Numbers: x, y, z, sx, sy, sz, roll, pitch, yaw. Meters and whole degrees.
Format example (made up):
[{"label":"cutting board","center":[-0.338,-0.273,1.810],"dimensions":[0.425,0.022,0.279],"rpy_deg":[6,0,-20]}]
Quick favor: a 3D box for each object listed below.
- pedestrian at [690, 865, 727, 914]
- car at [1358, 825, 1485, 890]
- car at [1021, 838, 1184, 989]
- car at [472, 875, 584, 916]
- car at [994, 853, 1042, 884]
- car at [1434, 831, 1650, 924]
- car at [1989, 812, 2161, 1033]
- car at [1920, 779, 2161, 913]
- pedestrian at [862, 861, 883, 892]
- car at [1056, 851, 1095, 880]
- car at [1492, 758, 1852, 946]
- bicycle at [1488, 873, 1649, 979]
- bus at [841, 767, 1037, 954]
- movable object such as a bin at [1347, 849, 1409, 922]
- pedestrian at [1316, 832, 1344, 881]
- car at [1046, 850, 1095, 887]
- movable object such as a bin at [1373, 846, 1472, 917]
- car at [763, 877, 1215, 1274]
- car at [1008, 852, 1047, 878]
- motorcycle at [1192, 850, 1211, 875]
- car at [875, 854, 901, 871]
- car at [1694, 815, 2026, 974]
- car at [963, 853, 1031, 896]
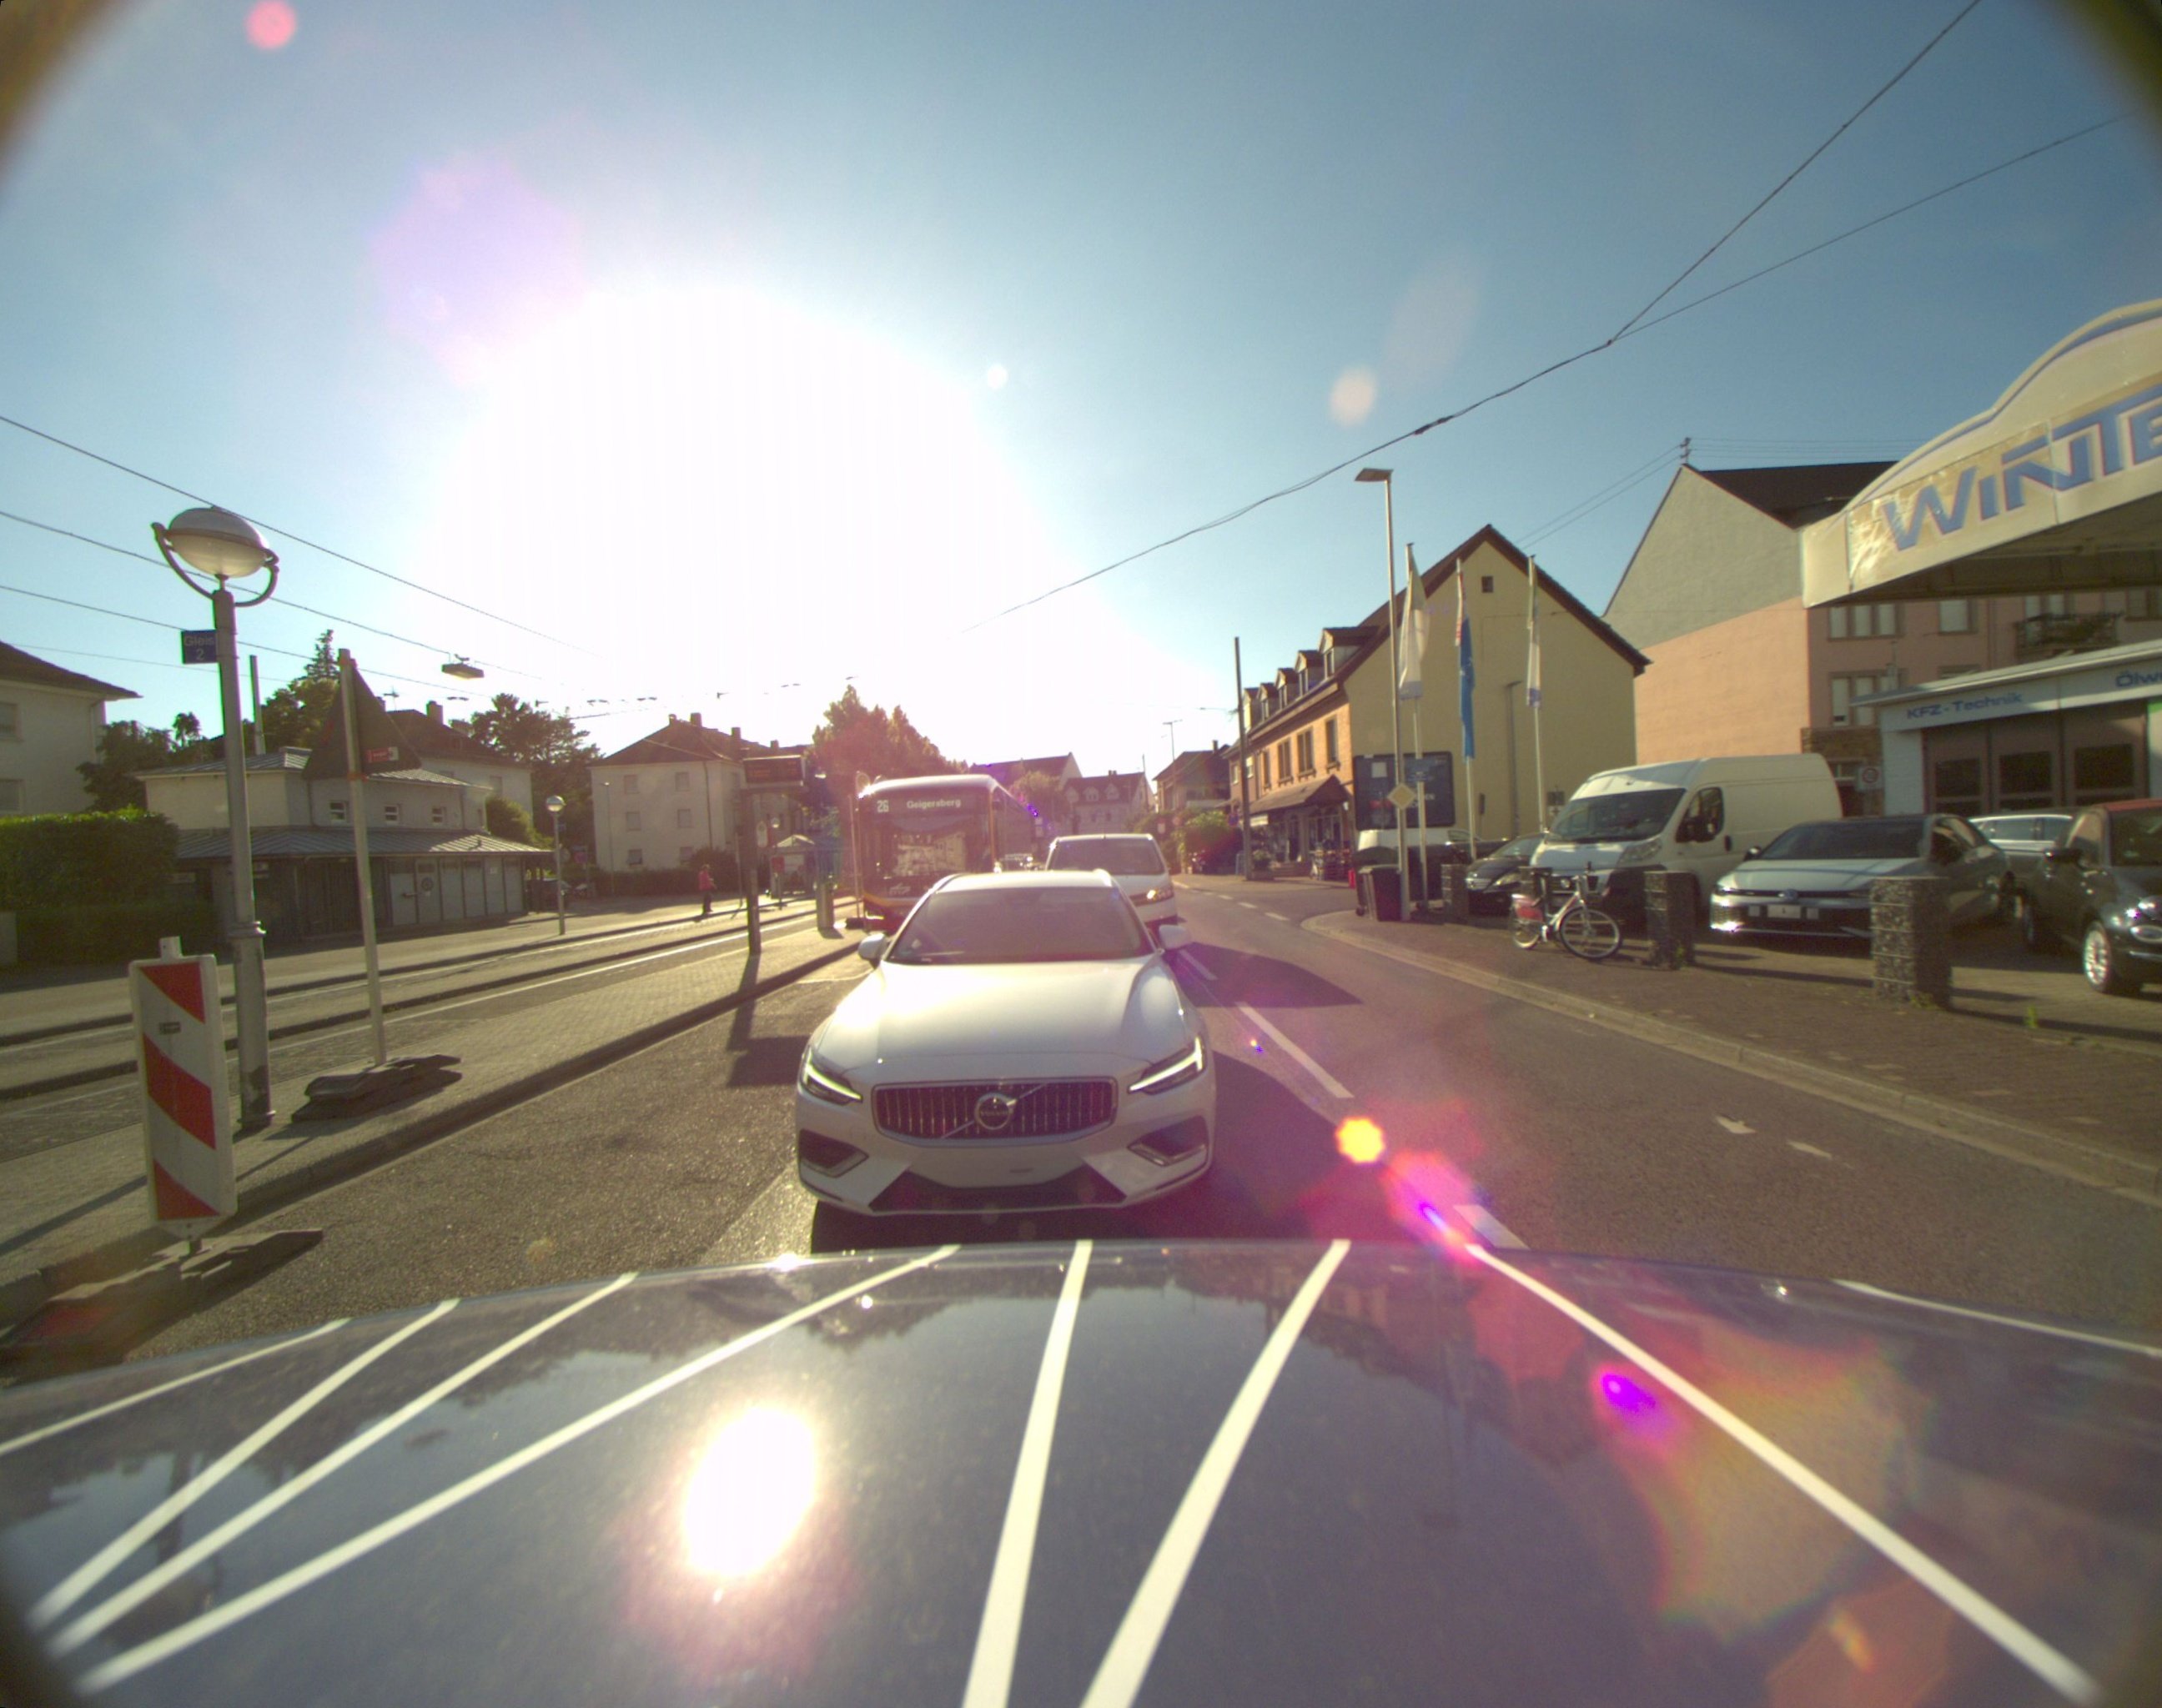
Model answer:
[{"label":"pedestrian","center":[-13.554,1.265,27.650],"dimensions":[0.842,1.708,0.825],"rpy_deg":[-2,1,1]},{"label":"car","center":[11.565,0.104,25.921],"dimensions":[3.672,2.002,1.451],"rpy_deg":[-2,1,-3]},{"label":"car","center":[0.304,0.737,12.009],"dimensions":[1.969,1.816,5.033],"rpy_deg":[-2,0,1]},{"label":"car","center":[-27.688,2.050,38.137],"dimensions":[4.052,1.663,2.000],"rpy_deg":[-4,1,2]},{"label":"car","center":[-3.228,0.711,39.888],"dimensions":[1.969,1.450,4.824],"rpy_deg":[-2,0,1]},{"label":"car","center":[8.968,0.379,14.746],"dimensions":[4.036,1.469,1.739],"rpy_deg":[-3,1,-28]},{"label":"car","center":[9.077,0.416,6.164],"dimensions":[1.590,1.488,3.442],"rpy_deg":[-2,1,40]},{"label":"car","center":[16.481,-0.167,11.987],"dimensions":[1.742,1.933,4.257],"rpy_deg":[-3,1,-1]},{"label":"pedestrian","center":[-11.026,1.172,40.185],"dimensions":[0.826,1.601,0.840],"rpy_deg":[-3,1,-28]},{"label":"car","center":[-0.252,0.573,41.507],"dimensions":[1.969,1.450,4.824],"rpy_deg":[-2,0,1]},{"label":"car","center":[9.144,-0.130,11.760],"dimensions":[4.997,2.440,2.111],"rpy_deg":[-3,1,-22]},{"label":"bicycle","center":[5.882,0.818,9.313],"dimensions":[0.725,1.080,1.791],"rpy_deg":[-3,1,-3]},{"label":"bus","center":[-2.918,0.099,19.832],"dimensions":[2.748,3.284,12.031],"rpy_deg":[-2,0,0]},{"label":"movable object such as a bin","center":[6.236,0.646,15.949],"dimensions":[1.045,1.456,0.797],"rpy_deg":[-2,1,32]},{"label":"pedestrian","center":[9.776,0.094,29.889],"dimensions":[0.766,1.842,0.823],"rpy_deg":[-2,1,-1]},{"label":"car","center":[-0.391,0.589,33.260],"dimensions":[1.969,1.450,4.824],"rpy_deg":[-2,0,1]},{"label":"movable object such as a bin","center":[7.594,0.584,16.913],"dimensions":[1.798,1.456,1.046],"rpy_deg":[-3,1,-25]},{"label":"car","center":[-0.352,0.985,5.255],"dimensions":[1.821,1.446,4.217],"rpy_deg":[-2,0,1]},{"label":"car","center":[-3.271,0.638,47.303],"dimensions":[1.969,1.450,4.824],"rpy_deg":[-2,0,1]},{"label":"motorcycle","center":[6.353,0.425,40.119],"dimensions":[0.708,1.210,2.186],"rpy_deg":[-2,1,3]},{"label":"car","center":[-23.261,1.027,91.771],"dimensions":[1.998,1.853,3.999],"rpy_deg":[-2,1,1]},{"label":"car","center":[9.491,0.364,9.210],"dimensions":[4.036,1.488,1.739],"rpy_deg":[-3,1,-28]},{"label":"car","center":[-3.151,0.710,29.499],"dimensions":[1.969,1.450,4.824],"rpy_deg":[-2,0,1]}]
